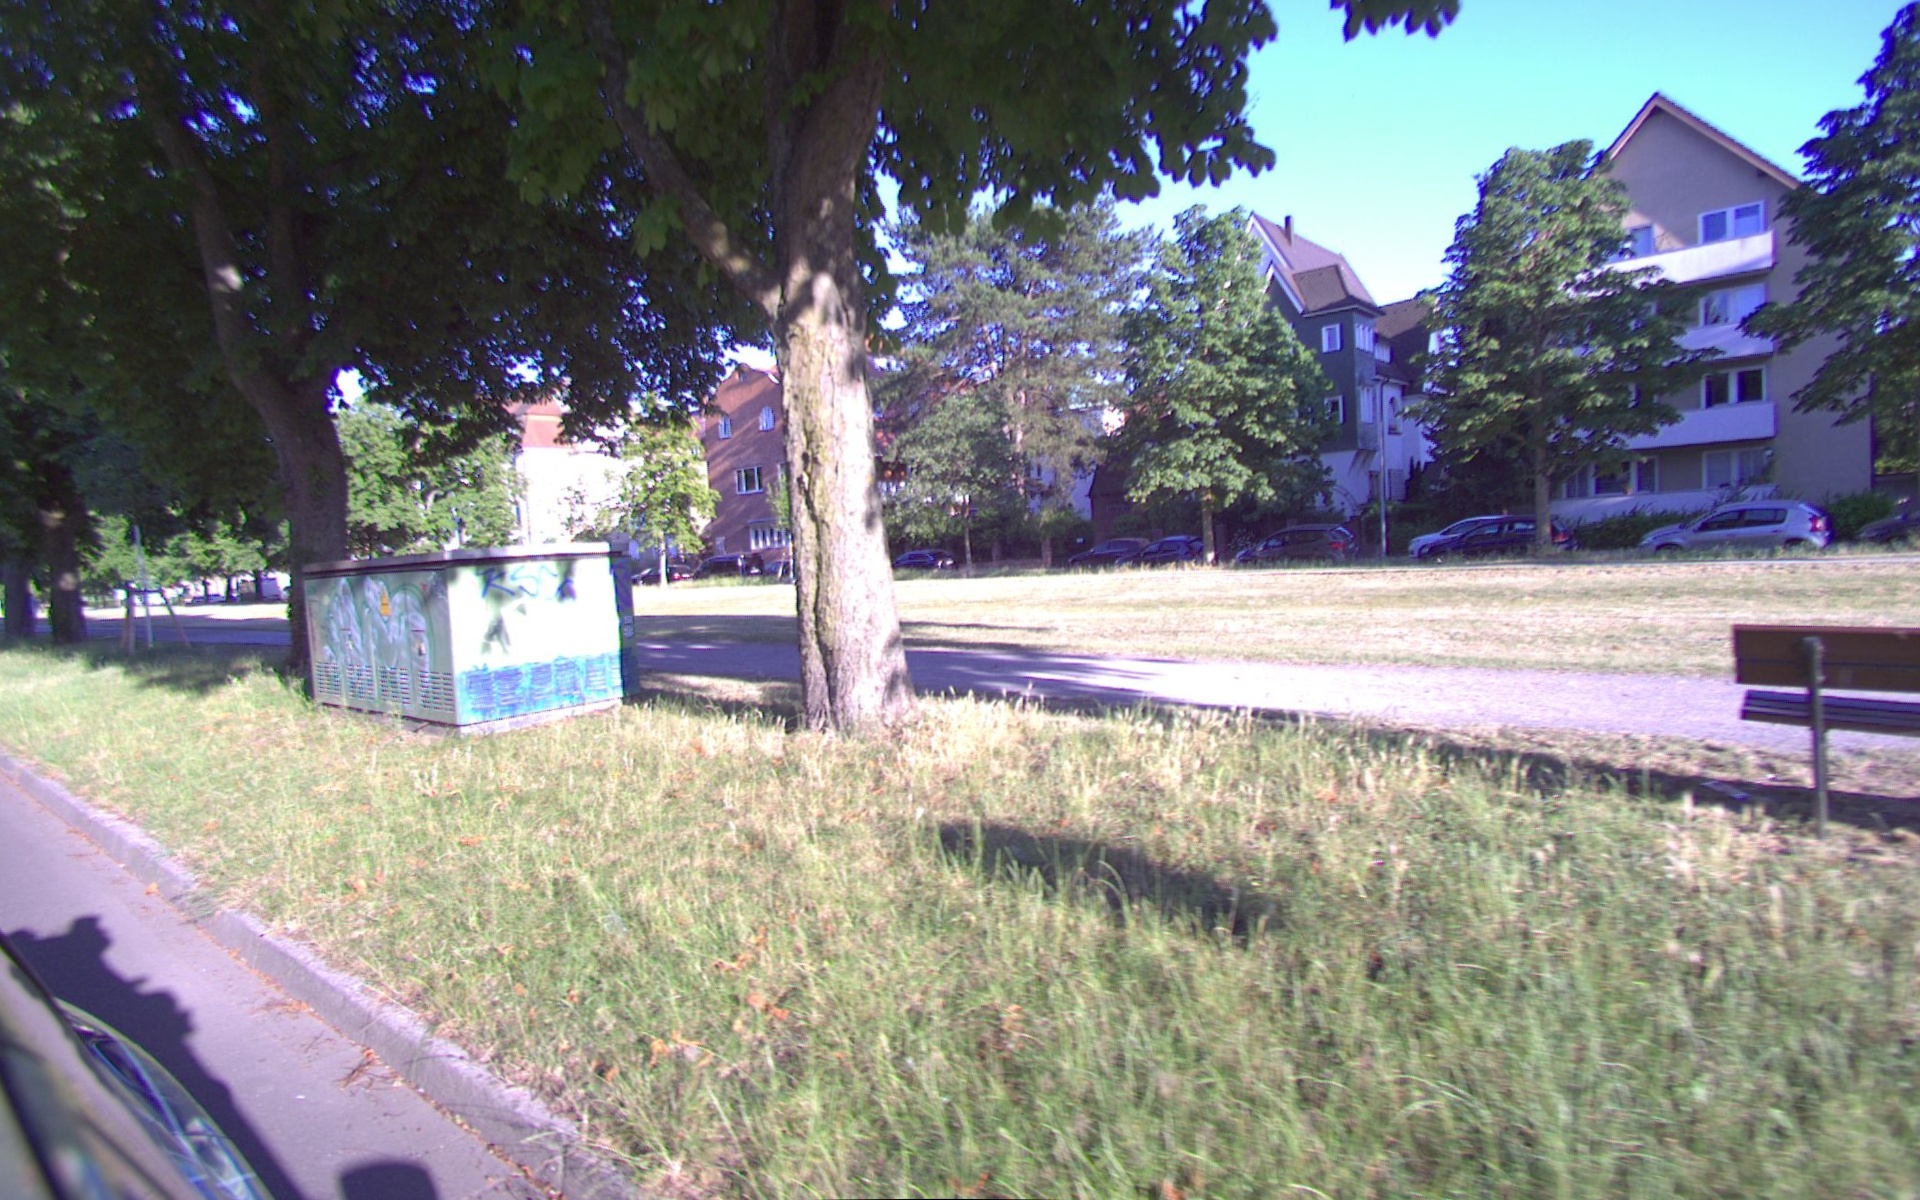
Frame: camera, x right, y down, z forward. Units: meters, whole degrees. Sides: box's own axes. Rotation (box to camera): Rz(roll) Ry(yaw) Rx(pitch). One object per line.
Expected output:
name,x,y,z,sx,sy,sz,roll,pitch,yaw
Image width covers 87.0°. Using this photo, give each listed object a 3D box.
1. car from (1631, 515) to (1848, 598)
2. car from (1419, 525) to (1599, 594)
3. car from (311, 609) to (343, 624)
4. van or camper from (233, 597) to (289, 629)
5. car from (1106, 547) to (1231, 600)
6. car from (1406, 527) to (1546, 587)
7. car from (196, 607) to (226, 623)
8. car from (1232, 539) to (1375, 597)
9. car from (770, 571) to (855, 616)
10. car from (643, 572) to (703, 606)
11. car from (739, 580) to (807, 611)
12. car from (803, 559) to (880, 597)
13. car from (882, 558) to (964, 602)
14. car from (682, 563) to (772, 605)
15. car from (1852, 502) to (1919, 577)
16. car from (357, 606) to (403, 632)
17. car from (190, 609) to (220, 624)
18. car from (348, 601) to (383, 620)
car,20.014,-1.087,26.082,4.254,1.873,1.973,-1,4,42
car,16.020,-1.153,29.631,4.254,1.733,1.973,-1,4,42
car,-72.035,1.858,115.113,3.998,1.475,1.974,-2,2,41
van or camper,-77.451,1.438,112.057,7.893,3.133,3.221,-2,3,42
car,7.602,-0.970,37.164,4.001,1.696,1.972,-1,4,44
car,17.946,-1.488,35.281,3.995,1.795,1.975,-1,3,39
car,-92.595,1.863,125.063,4.874,1.702,1.973,-2,3,42
car,11.341,-1.042,33.542,4.001,1.696,1.972,-1,4,44
car,-7.425,-0.312,50.782,3.998,2.028,1.973,-2,3,42
car,-19.521,-0.719,68.781,4.367,2.028,1.739,-3,2,42
car,-11.426,-0.282,61.814,4.303,1.635,1.739,-3,2,42
car,-6.707,-1.219,57.052,4.406,1.851,1.798,-2,3,42
car,-1.959,-1.022,52.817,4.000,2.028,1.972,-3,2,43
car,-12.650,-0.832,54.778,5.244,1.955,1.973,-3,2,42
car,23.403,-1.494,23.320,4.254,1.661,1.973,-1,4,42
car,-50.823,1.684,88.665,4.875,2.028,1.972,-2,3,43
car,-96.427,2.130,129.204,4.874,1.702,1.973,-2,3,42
car,-62.206,1.058,105.908,4.000,1.747,1.972,-2,2,43
